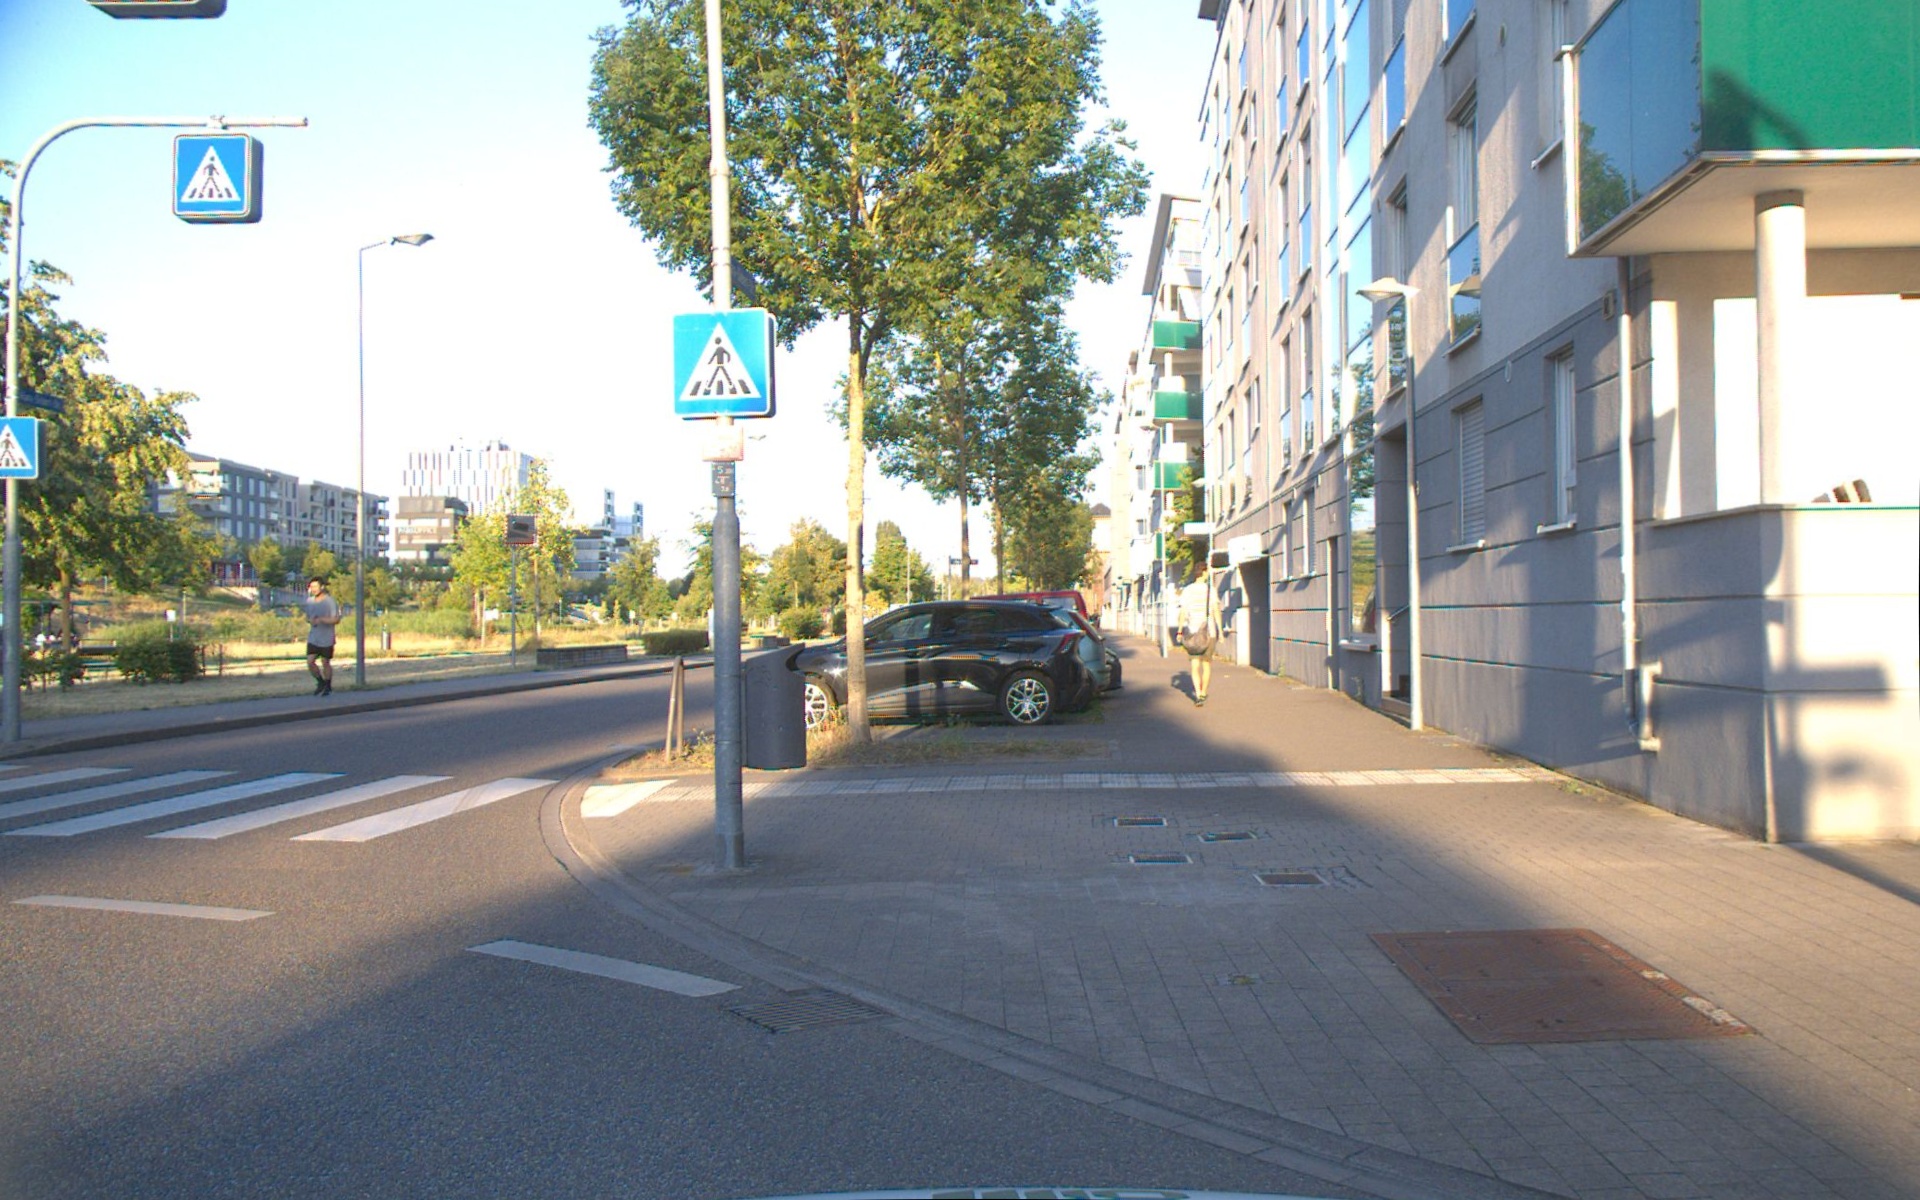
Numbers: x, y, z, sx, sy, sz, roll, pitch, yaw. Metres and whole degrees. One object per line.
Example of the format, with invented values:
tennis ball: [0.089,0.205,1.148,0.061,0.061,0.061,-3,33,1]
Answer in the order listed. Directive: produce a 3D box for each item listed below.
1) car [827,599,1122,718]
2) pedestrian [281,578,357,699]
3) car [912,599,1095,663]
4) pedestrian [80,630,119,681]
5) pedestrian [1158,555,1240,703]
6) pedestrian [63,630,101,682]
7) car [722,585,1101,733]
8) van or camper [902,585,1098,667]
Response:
car: [0.216,0.790,23.000,3.910,1.397,1.560,-3,0,2]
pedestrian: [-9.551,0.568,24.665,0.748,1.760,0.802,0,-1,8]
car: [1.067,0.749,40.351,4.360,1.548,1.702,0,-1,2]
pedestrian: [-17.396,1.118,33.429,0.488,1.022,0.571,0,-1,-1]
pedestrian: [3.213,0.385,22.336,0.956,1.927,1.050,-2,-1,3]
pedestrian: [-17.364,1.110,32.707,0.488,1.022,0.481,0,-1,-1]
car: [-0.544,0.697,20.264,4.374,1.513,1.834,-3,-1,2]
van or camper: [1.034,0.683,43.195,5.009,2.096,1.878,0,-1,1]
